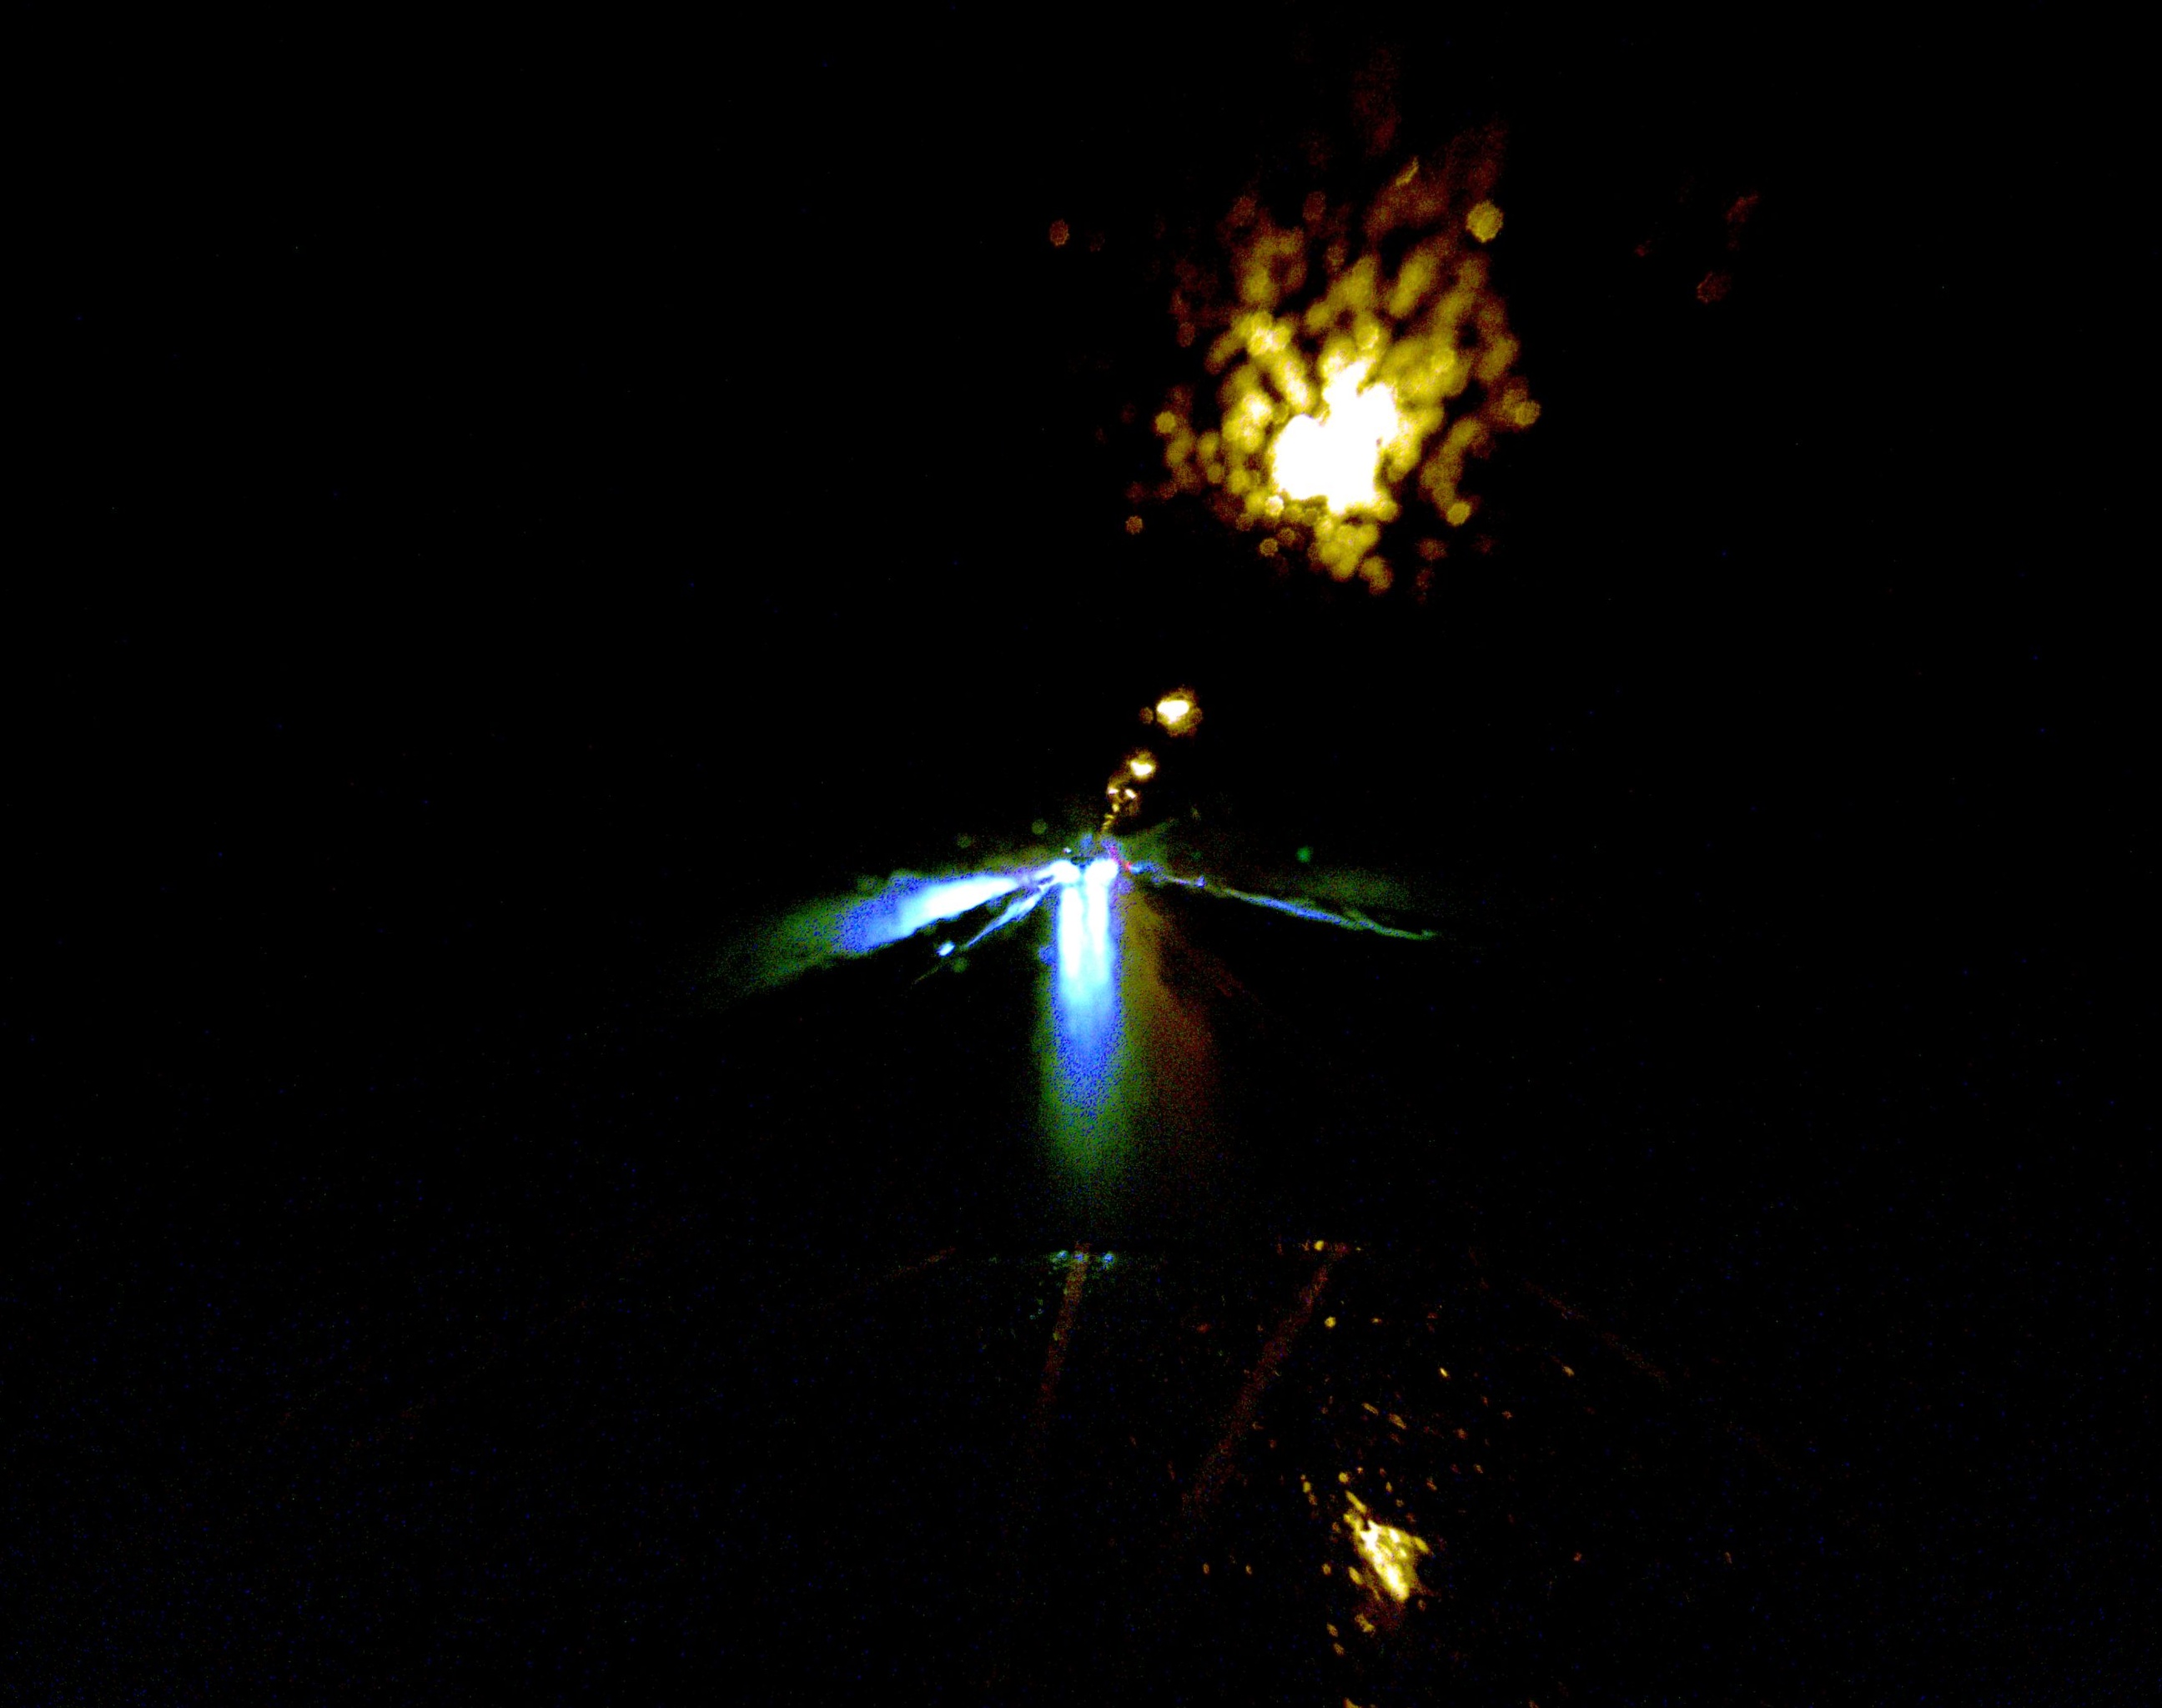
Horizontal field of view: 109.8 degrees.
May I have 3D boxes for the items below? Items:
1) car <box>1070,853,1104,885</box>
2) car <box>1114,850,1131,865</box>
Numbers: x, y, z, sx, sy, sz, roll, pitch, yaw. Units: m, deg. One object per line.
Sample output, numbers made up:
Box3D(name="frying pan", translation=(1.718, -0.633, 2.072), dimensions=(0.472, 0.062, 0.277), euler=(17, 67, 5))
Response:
Box3D(name="car", translation=(0.351, 0.786, 41.272), dimensions=(1.730, 1.595, 4.000), euler=(-1, 0, 2))
Box3D(name="car", translation=(4.581, 0.374, 84.172), dimensions=(1.889, 1.595, 4.000), euler=(-1, 0, 2))
